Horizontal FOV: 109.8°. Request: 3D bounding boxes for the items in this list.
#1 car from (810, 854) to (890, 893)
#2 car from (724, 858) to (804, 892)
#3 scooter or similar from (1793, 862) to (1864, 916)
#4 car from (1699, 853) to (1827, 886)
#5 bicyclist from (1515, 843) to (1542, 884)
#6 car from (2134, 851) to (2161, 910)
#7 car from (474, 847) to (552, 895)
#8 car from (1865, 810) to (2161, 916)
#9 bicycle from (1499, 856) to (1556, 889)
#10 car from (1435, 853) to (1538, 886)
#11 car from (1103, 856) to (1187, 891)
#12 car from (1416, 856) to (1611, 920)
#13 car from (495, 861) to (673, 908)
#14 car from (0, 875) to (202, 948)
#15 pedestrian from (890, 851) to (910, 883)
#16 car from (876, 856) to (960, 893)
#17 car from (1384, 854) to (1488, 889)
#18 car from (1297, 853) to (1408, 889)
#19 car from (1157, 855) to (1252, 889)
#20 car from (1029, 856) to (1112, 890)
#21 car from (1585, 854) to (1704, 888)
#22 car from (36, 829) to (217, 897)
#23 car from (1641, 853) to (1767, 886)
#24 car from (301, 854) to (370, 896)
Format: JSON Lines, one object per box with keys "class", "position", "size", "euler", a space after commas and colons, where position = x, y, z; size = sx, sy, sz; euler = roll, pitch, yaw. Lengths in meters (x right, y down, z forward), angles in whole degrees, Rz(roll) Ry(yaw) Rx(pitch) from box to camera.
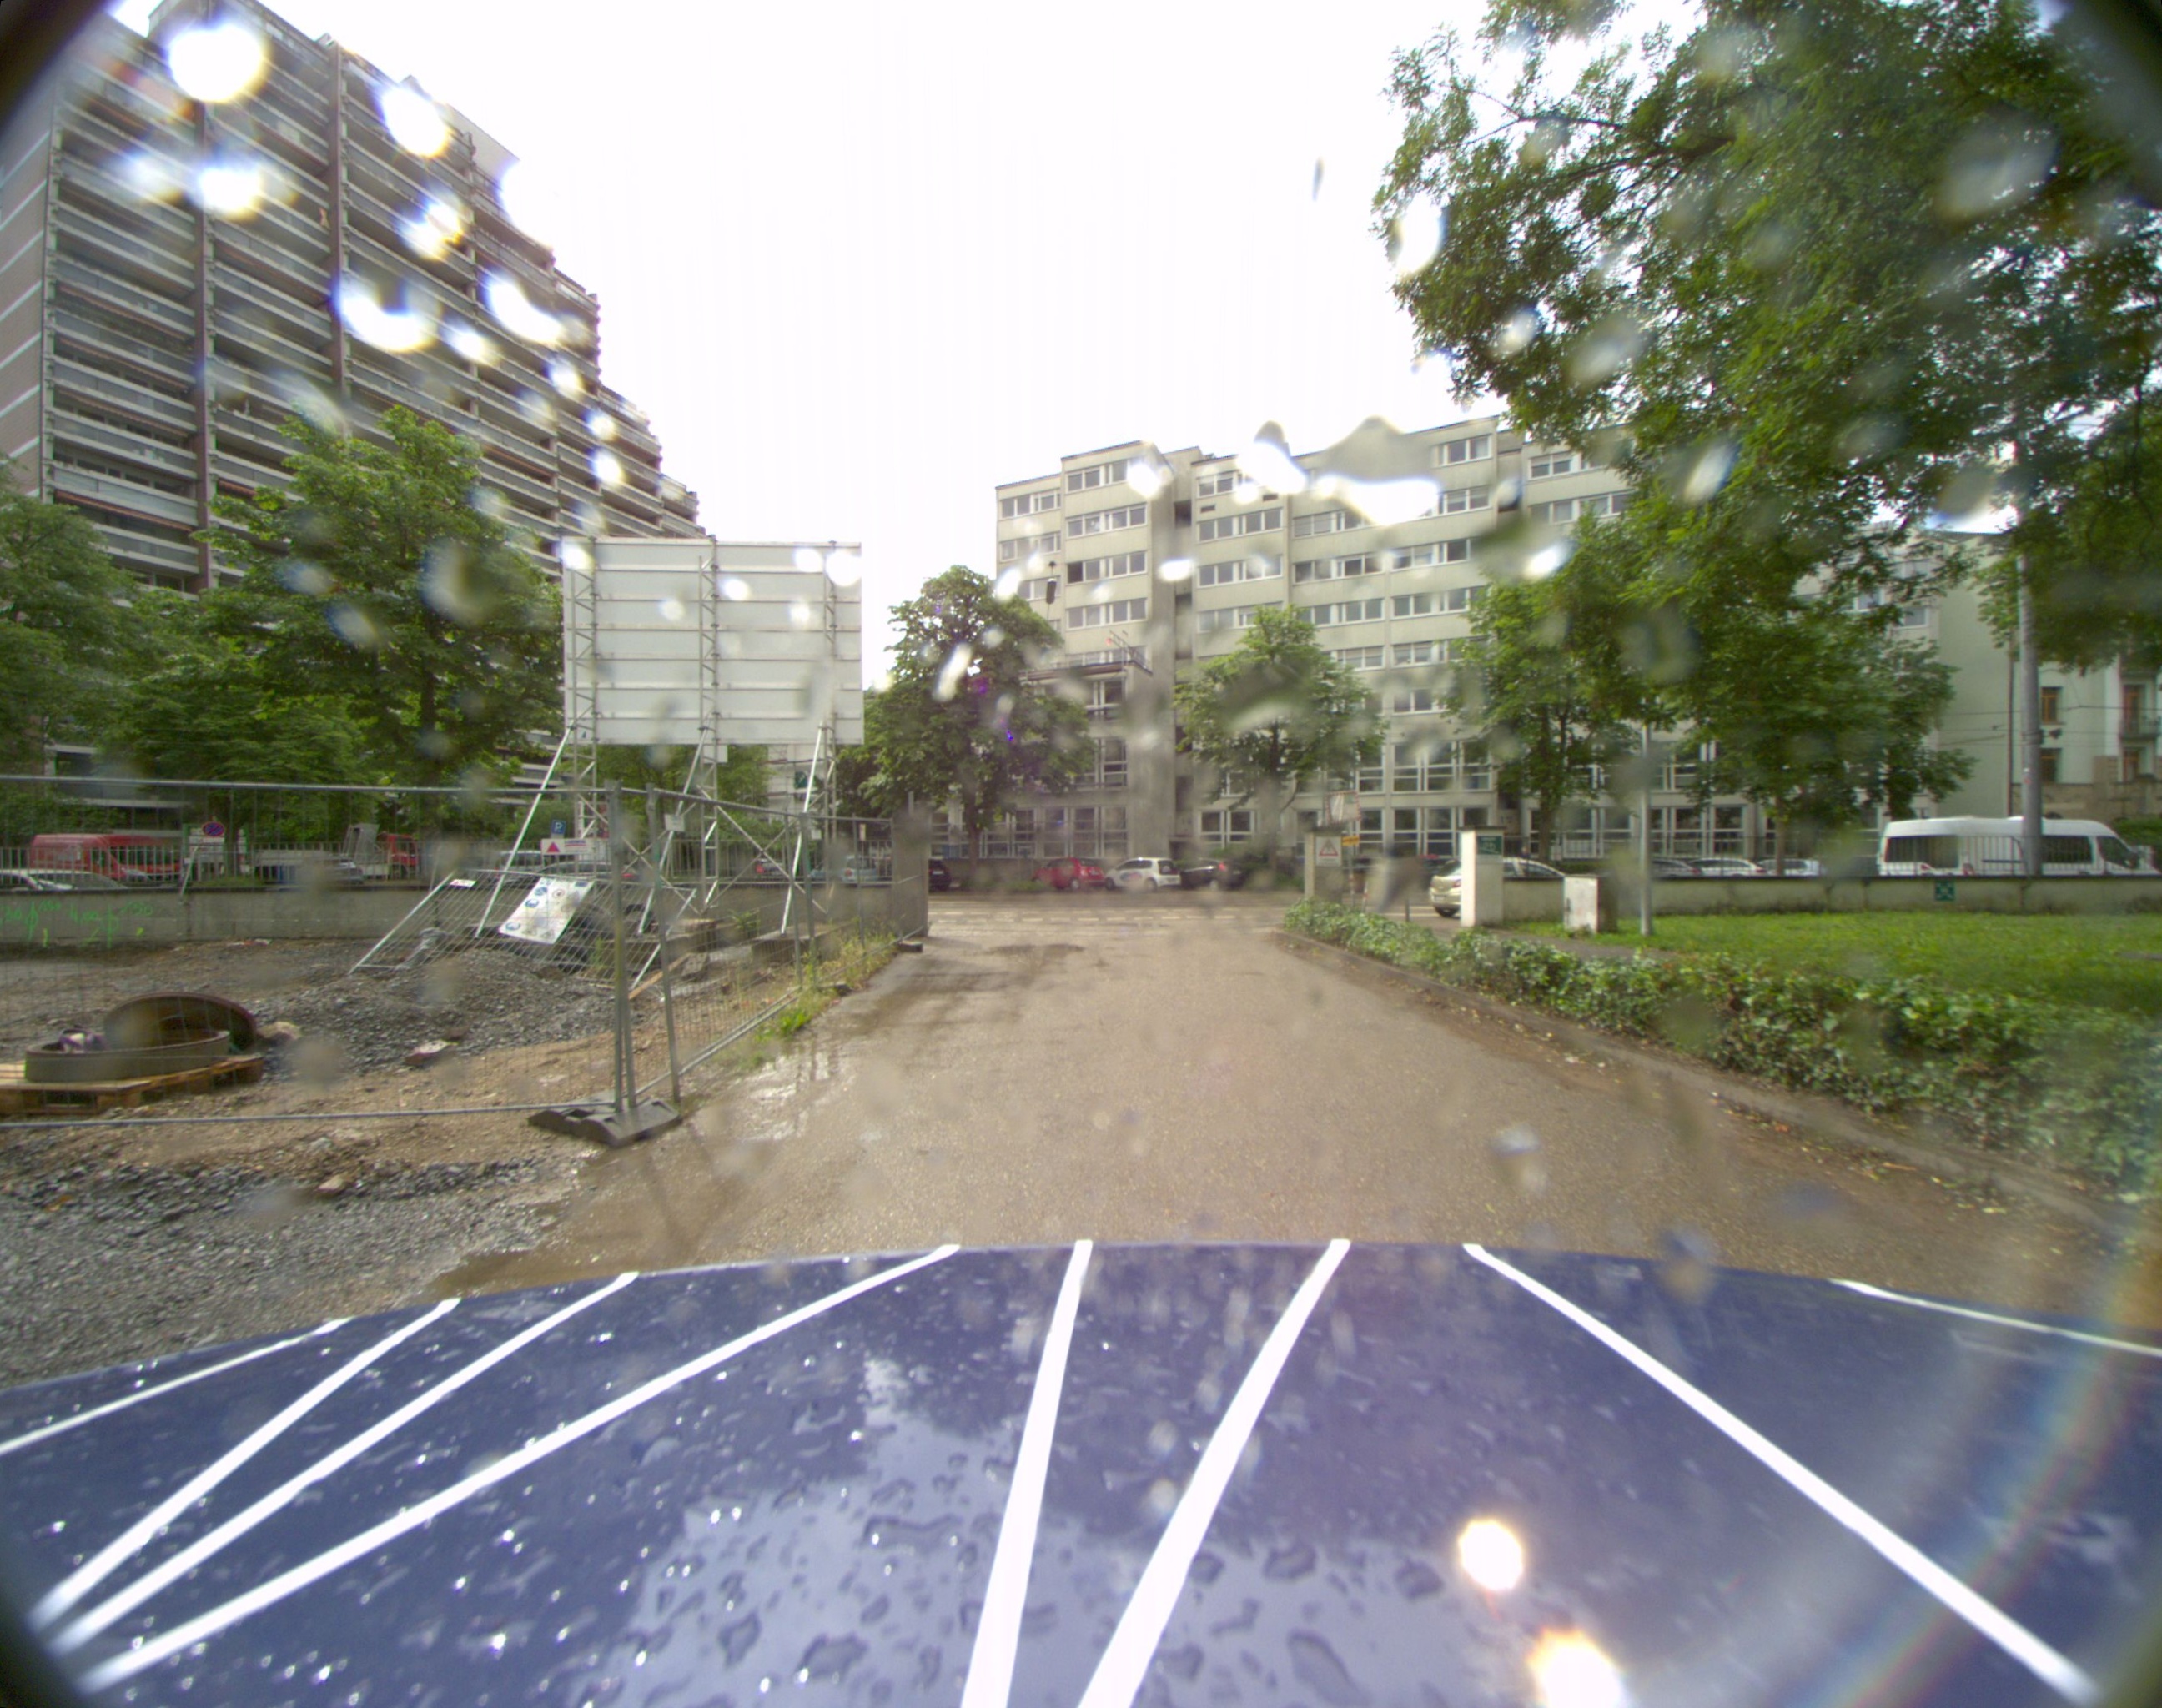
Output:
{"class": "car", "position": [-9.945, 0.790, 32.606], "size": [3.639, 1.542, 1.712], "euler": [0, 1, 44]}
{"class": "car", "position": [-13.837, 0.874, 33.073], "size": [3.639, 1.389, 1.773], "euler": [0, 1, 41]}
{"class": "scooter or similar", "position": [18.402, 0.851, 18.716], "size": [0.427, 1.269, 1.145], "euler": [2, 0, -28]}
{"class": "car", "position": [32.042, 0.746, 35.802], "size": [4.360, 1.444, 1.910], "euler": [-3, -2, 43]}
{"class": "bicyclist", "position": [18.096, 0.385, 30.751], "size": [0.673, 1.607, 0.646], "euler": [-1, -1, 3]}
{"class": "car", "position": [29.855, 0.682, 19.379], "size": [3.368, 1.541, 1.914], "euler": [0, -1, -1]}
{"class": "car", "position": [-24.150, 0.666, 32.231], "size": [4.631, 1.885, 1.942], "euler": [0, 0, 44]}
{"class": "car", "position": [23.314, 0.230, 19.040], "size": [5.271, 2.494, 2.140], "euler": [0, -1, -3]}
{"class": "bicycle", "position": [18.050, 0.755, 30.751], "size": [1.867, 1.258, 0.646], "euler": [-1, -1, 3]}
{"class": "car", "position": [18.824, 0.748, 35.315], "size": [3.871, 1.445, 1.782], "euler": [-2, -2, 42]}
{"class": "car", "position": [2.802, 0.834, 33.521], "size": [1.714, 1.443, 3.398], "euler": [-1, 1, -44]}
{"class": "car", "position": [10.489, 0.811, 18.593], "size": [3.831, 1.451, 1.690], "euler": [0, -1, -3]}
{"class": "car", "position": [-17.091, 1.035, 26.324], "size": [4.762, 1.472, 2.000], "euler": [-1, -1, -4]}
{"class": "car", "position": [-22.477, 1.234, 16.707], "size": [3.998, 1.462, 1.890], "euler": [-1, -1, -2]}
{"class": "pedestrian", "position": [-9.975, 0.693, 41.818], "size": [0.709, 1.732, 0.837], "euler": [-1, -1, -44]}
{"class": "car", "position": [-7.080, 0.835, 32.792], "size": [3.639, 1.461, 1.745], "euler": [0, 1, 43]}
{"class": "car", "position": [15.965, 0.811, 34.249], "size": [3.871, 1.445, 1.827], "euler": [-2, -2, 42]}
{"class": "car", "position": [12.353, 0.824, 34.702], "size": [4.359, 1.545, 1.883], "euler": [-2, -3, 41]}
{"class": "car", "position": [5.519, 0.799, 34.267], "size": [1.820, 1.472, 3.968], "euler": [0, -1, -41]}
{"class": "car", "position": [-0.506, 0.814, 33.868], "size": [3.398, 1.460, 1.746], "euler": [0, -1, 43]}
{"class": "car", "position": [25.933, 0.795, 35.036], "size": [4.195, 1.444, 1.818], "euler": [-3, -2, 43]}
{"class": "car", "position": [-38.754, 0.342, 30.893], "size": [5.474, 2.618, 2.304], "euler": [0, 0, 11]}
{"class": "car", "position": [28.981, 0.746, 35.408], "size": [4.383, 1.444, 1.889], "euler": [-3, -2, 43]}
{"class": "car", "position": [-31.616, 0.843, 32.191], "size": [4.034, 1.556, 1.789], "euler": [2, 2, 42]}
